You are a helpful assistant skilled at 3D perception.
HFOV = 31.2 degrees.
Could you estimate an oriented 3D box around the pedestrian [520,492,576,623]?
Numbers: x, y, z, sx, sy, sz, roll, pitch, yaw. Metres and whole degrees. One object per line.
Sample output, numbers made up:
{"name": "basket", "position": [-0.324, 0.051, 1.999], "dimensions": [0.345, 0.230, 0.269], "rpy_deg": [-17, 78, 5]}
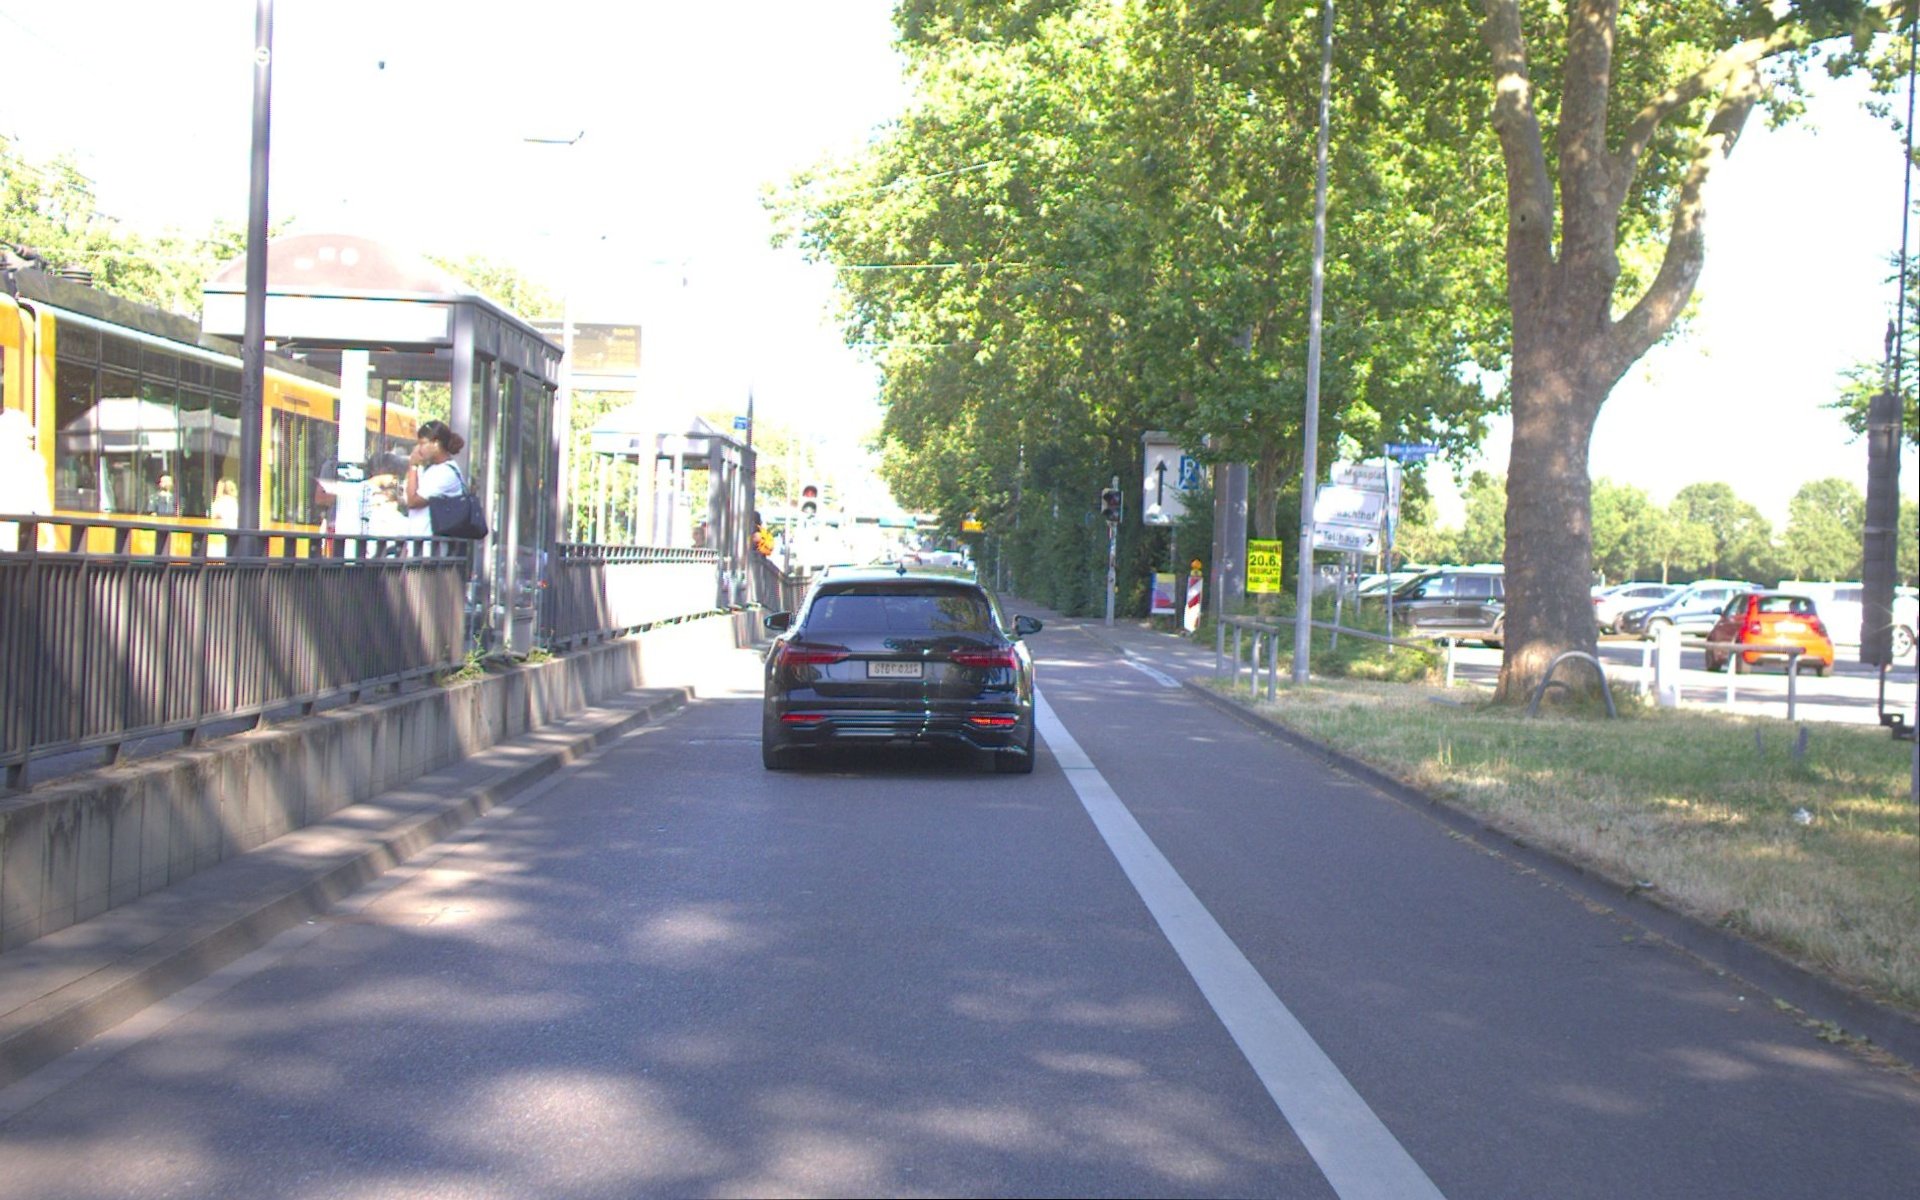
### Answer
{"name": "pedestrian", "position": [-5.492, -0.568, 45.877], "dimensions": [0.611, 1.707, 0.660], "rpy_deg": [3, 1, -2]}

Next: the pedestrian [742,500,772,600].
{"name": "pedestrian", "position": [-3.528, -0.873, 59.705], "dimensions": [0.412, 1.711, 0.666], "rpy_deg": [3, 1, -1]}

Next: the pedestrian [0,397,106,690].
{"name": "pedestrian", "position": [-5.840, -0.350, 21.299], "dimensions": [0.793, 1.778, 0.649], "rpy_deg": [2, 1, -40]}

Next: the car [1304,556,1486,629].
{"name": "car", "position": [9.931, -0.182, 78.654], "dimensions": [3.886, 1.499, 1.888], "rpy_deg": [2, 1, 1]}

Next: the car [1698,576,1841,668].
{"name": "car", "position": [14.643, 0.376, 62.371], "dimensions": [1.614, 1.510, 3.803], "rpy_deg": [3, 1, 0]}

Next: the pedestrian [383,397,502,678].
{"name": "pedestrian", "position": [-3.371, -0.407, 22.435], "dimensions": [0.611, 1.778, 0.613], "rpy_deg": [3, 1, 0]}

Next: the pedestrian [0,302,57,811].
{"name": "pedestrian", "position": [-3.350, -0.154, 11.318], "dimensions": [0.611, 1.636, 0.614], "rpy_deg": [2, 1, -20]}

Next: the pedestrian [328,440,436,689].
{"name": "pedestrian", "position": [-4.238, -0.265, 25.236], "dimensions": [0.610, 1.778, 0.681], "rpy_deg": [3, 1, 0]}

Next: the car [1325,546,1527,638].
{"name": "car", "position": [9.940, -0.176, 73.537], "dimensions": [3.987, 1.758, 1.833], "rpy_deg": [2, 1, 0]}

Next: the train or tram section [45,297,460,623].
{"name": "train or tram section", "position": [-9.463, -1.786, 47.711], "dimensions": [3.309, 3.816, 11.844], "rpy_deg": [3, 1, -1]}

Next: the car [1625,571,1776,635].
{"name": "car", "position": [20.723, 0.079, 96.329], "dimensions": [3.812, 1.603, 1.670], "rpy_deg": [2, 1, 0]}

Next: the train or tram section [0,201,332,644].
{"name": "train or tram section", "position": [-9.287, -1.687, 35.826], "dimensions": [3.309, 3.816, 11.844], "rpy_deg": [3, 1, -1]}

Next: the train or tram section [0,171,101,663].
{"name": "train or tram section", "position": [-9.092, -1.422, 22.708], "dimensions": [3.309, 3.816, 14.220], "rpy_deg": [3, 1, -1]}

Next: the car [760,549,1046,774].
{"name": "car", "position": [-0.459, 0.385, 24.471], "dimensions": [1.878, 1.452, 3.357], "rpy_deg": [1, 1, -3]}

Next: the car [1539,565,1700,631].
{"name": "car", "position": [20.013, -0.069, 104.462], "dimensions": [4.351, 1.809, 2.000], "rpy_deg": [2, 1, -4]}

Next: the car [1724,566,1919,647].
{"name": "car", "position": [20.153, 0.144, 79.648], "dimensions": [4.459, 1.653, 1.917], "rpy_deg": [3, 1, 4]}

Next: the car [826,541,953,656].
{"name": "car", "position": [-1.117, -0.057, 52.432], "dimensions": [1.762, 1.614, 4.001], "rpy_deg": [2, 1, -3]}

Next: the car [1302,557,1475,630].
{"name": "car", "position": [9.511, -0.154, 76.432], "dimensions": [3.594, 1.457, 1.678], "rpy_deg": [2, 1, 1]}

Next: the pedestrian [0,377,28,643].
{"name": "pedestrian", "position": [-6.750, -0.615, 23.270], "dimensions": [0.611, 1.778, 0.775], "rpy_deg": [3, 1, 0]}
